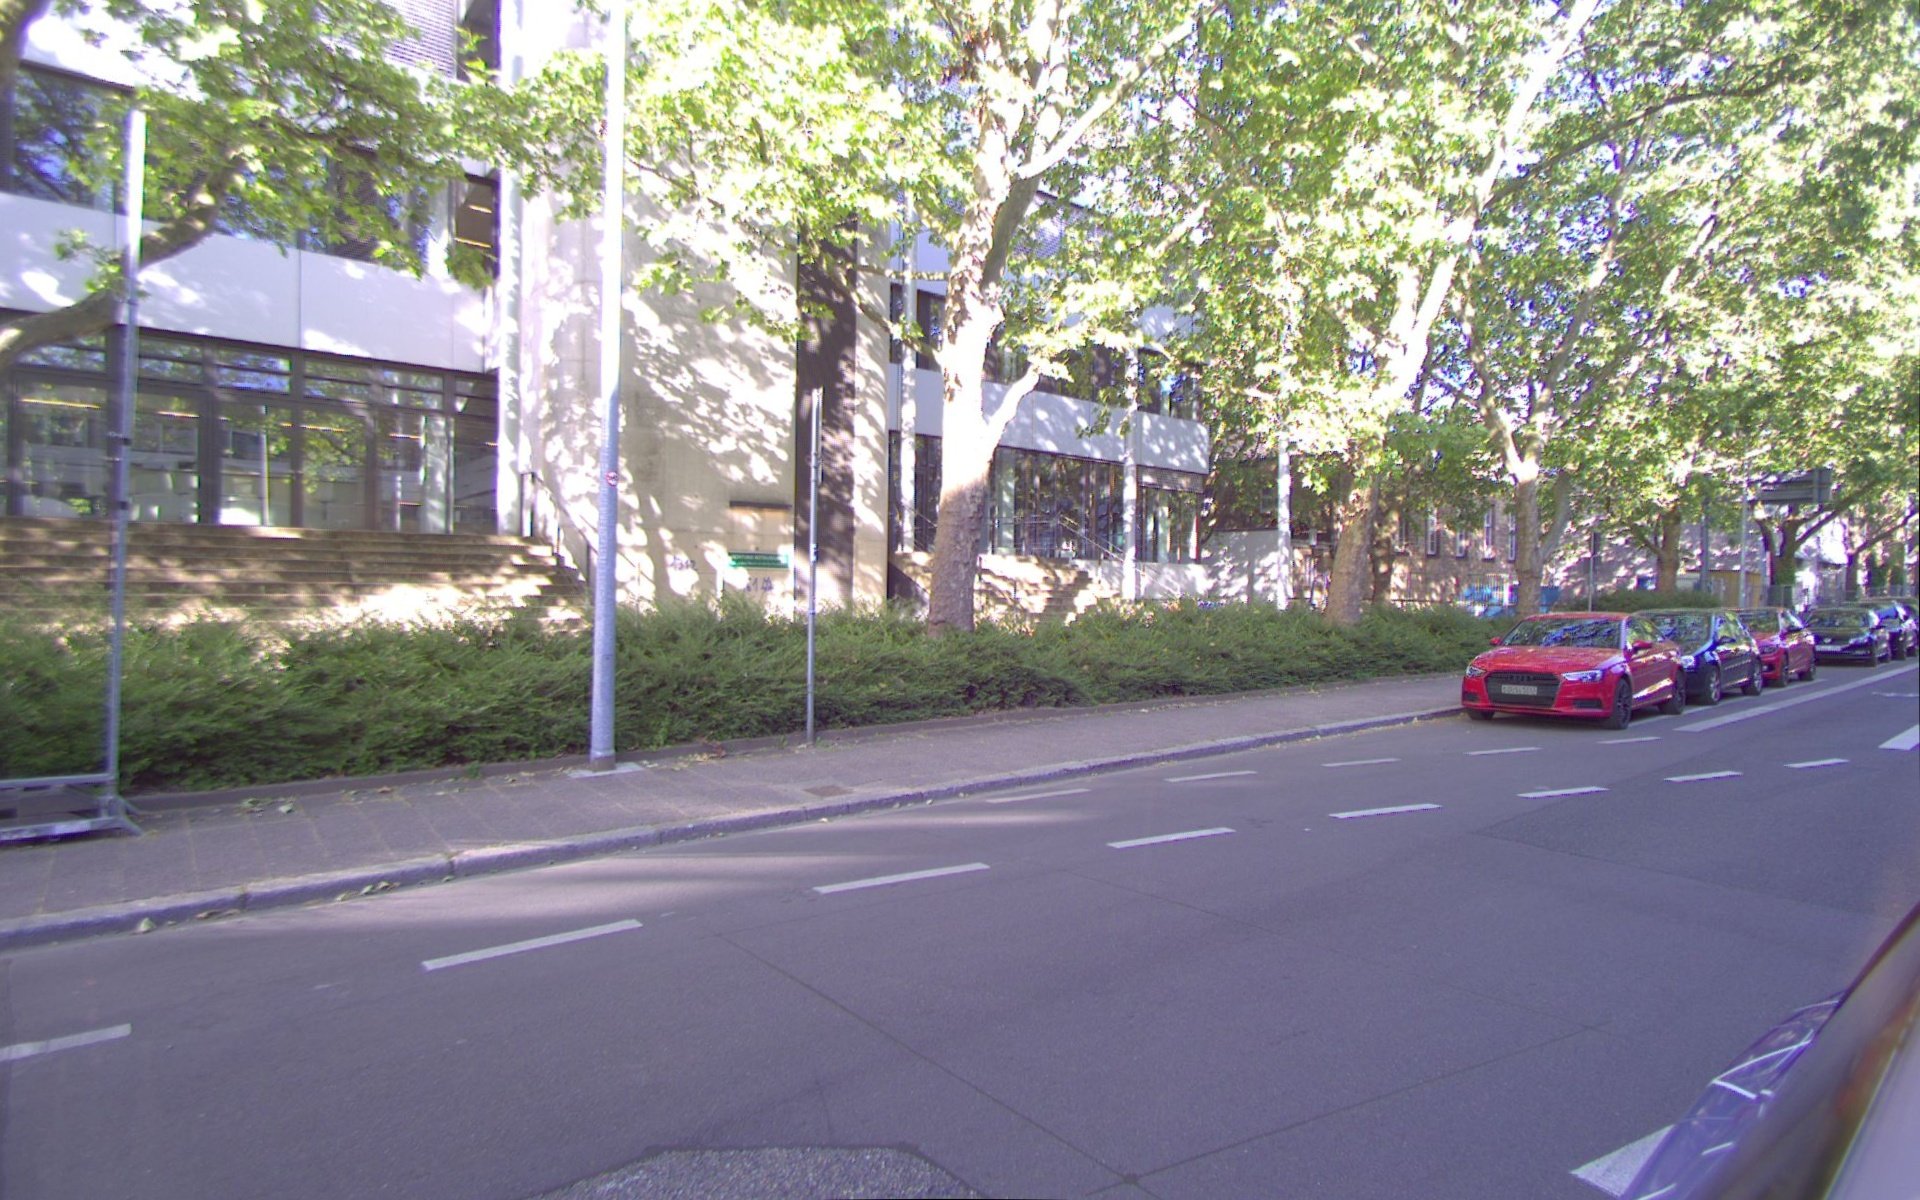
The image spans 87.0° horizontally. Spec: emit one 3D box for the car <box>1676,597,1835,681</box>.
[{"bbox_3d":[15.868,0.700,20.111,4.092,1.502,1.815,0,-1,-42],"label":"car"}]

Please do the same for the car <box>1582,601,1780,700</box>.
[{"bbox_3d":[11.962,0.738,16.690,4.092,1.431,1.815,0,-1,-42],"label":"car"}]

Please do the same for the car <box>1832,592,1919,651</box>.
[{"bbox_3d":[26.605,0.588,29.136,4.092,1.573,1.788,0,-1,-42],"label":"car"}]

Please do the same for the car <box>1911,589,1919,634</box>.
[{"bbox_3d":[39.636,0.437,40.405,4.475,1.777,2.040,0,-1,-42],"label":"car"}]

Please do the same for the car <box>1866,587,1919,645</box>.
[{"bbox_3d":[31.066,0.487,33.019,4.271,1.777,1.788,0,-1,-42],"label":"car"}]

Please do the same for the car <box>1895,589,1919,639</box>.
[{"bbox_3d":[35.918,0.482,37.254,4.475,1.777,1.788,0,-1,-42],"label":"car"}]

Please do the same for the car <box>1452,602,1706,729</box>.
[{"bbox_3d":[8.369,0.753,13.551,4.092,1.431,1.815,0,-1,-42],"label":"car"}]

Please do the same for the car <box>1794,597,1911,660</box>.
[{"bbox_3d":[23.060,0.679,26.104,4.092,1.478,1.788,0,-1,-42],"label":"car"}]
